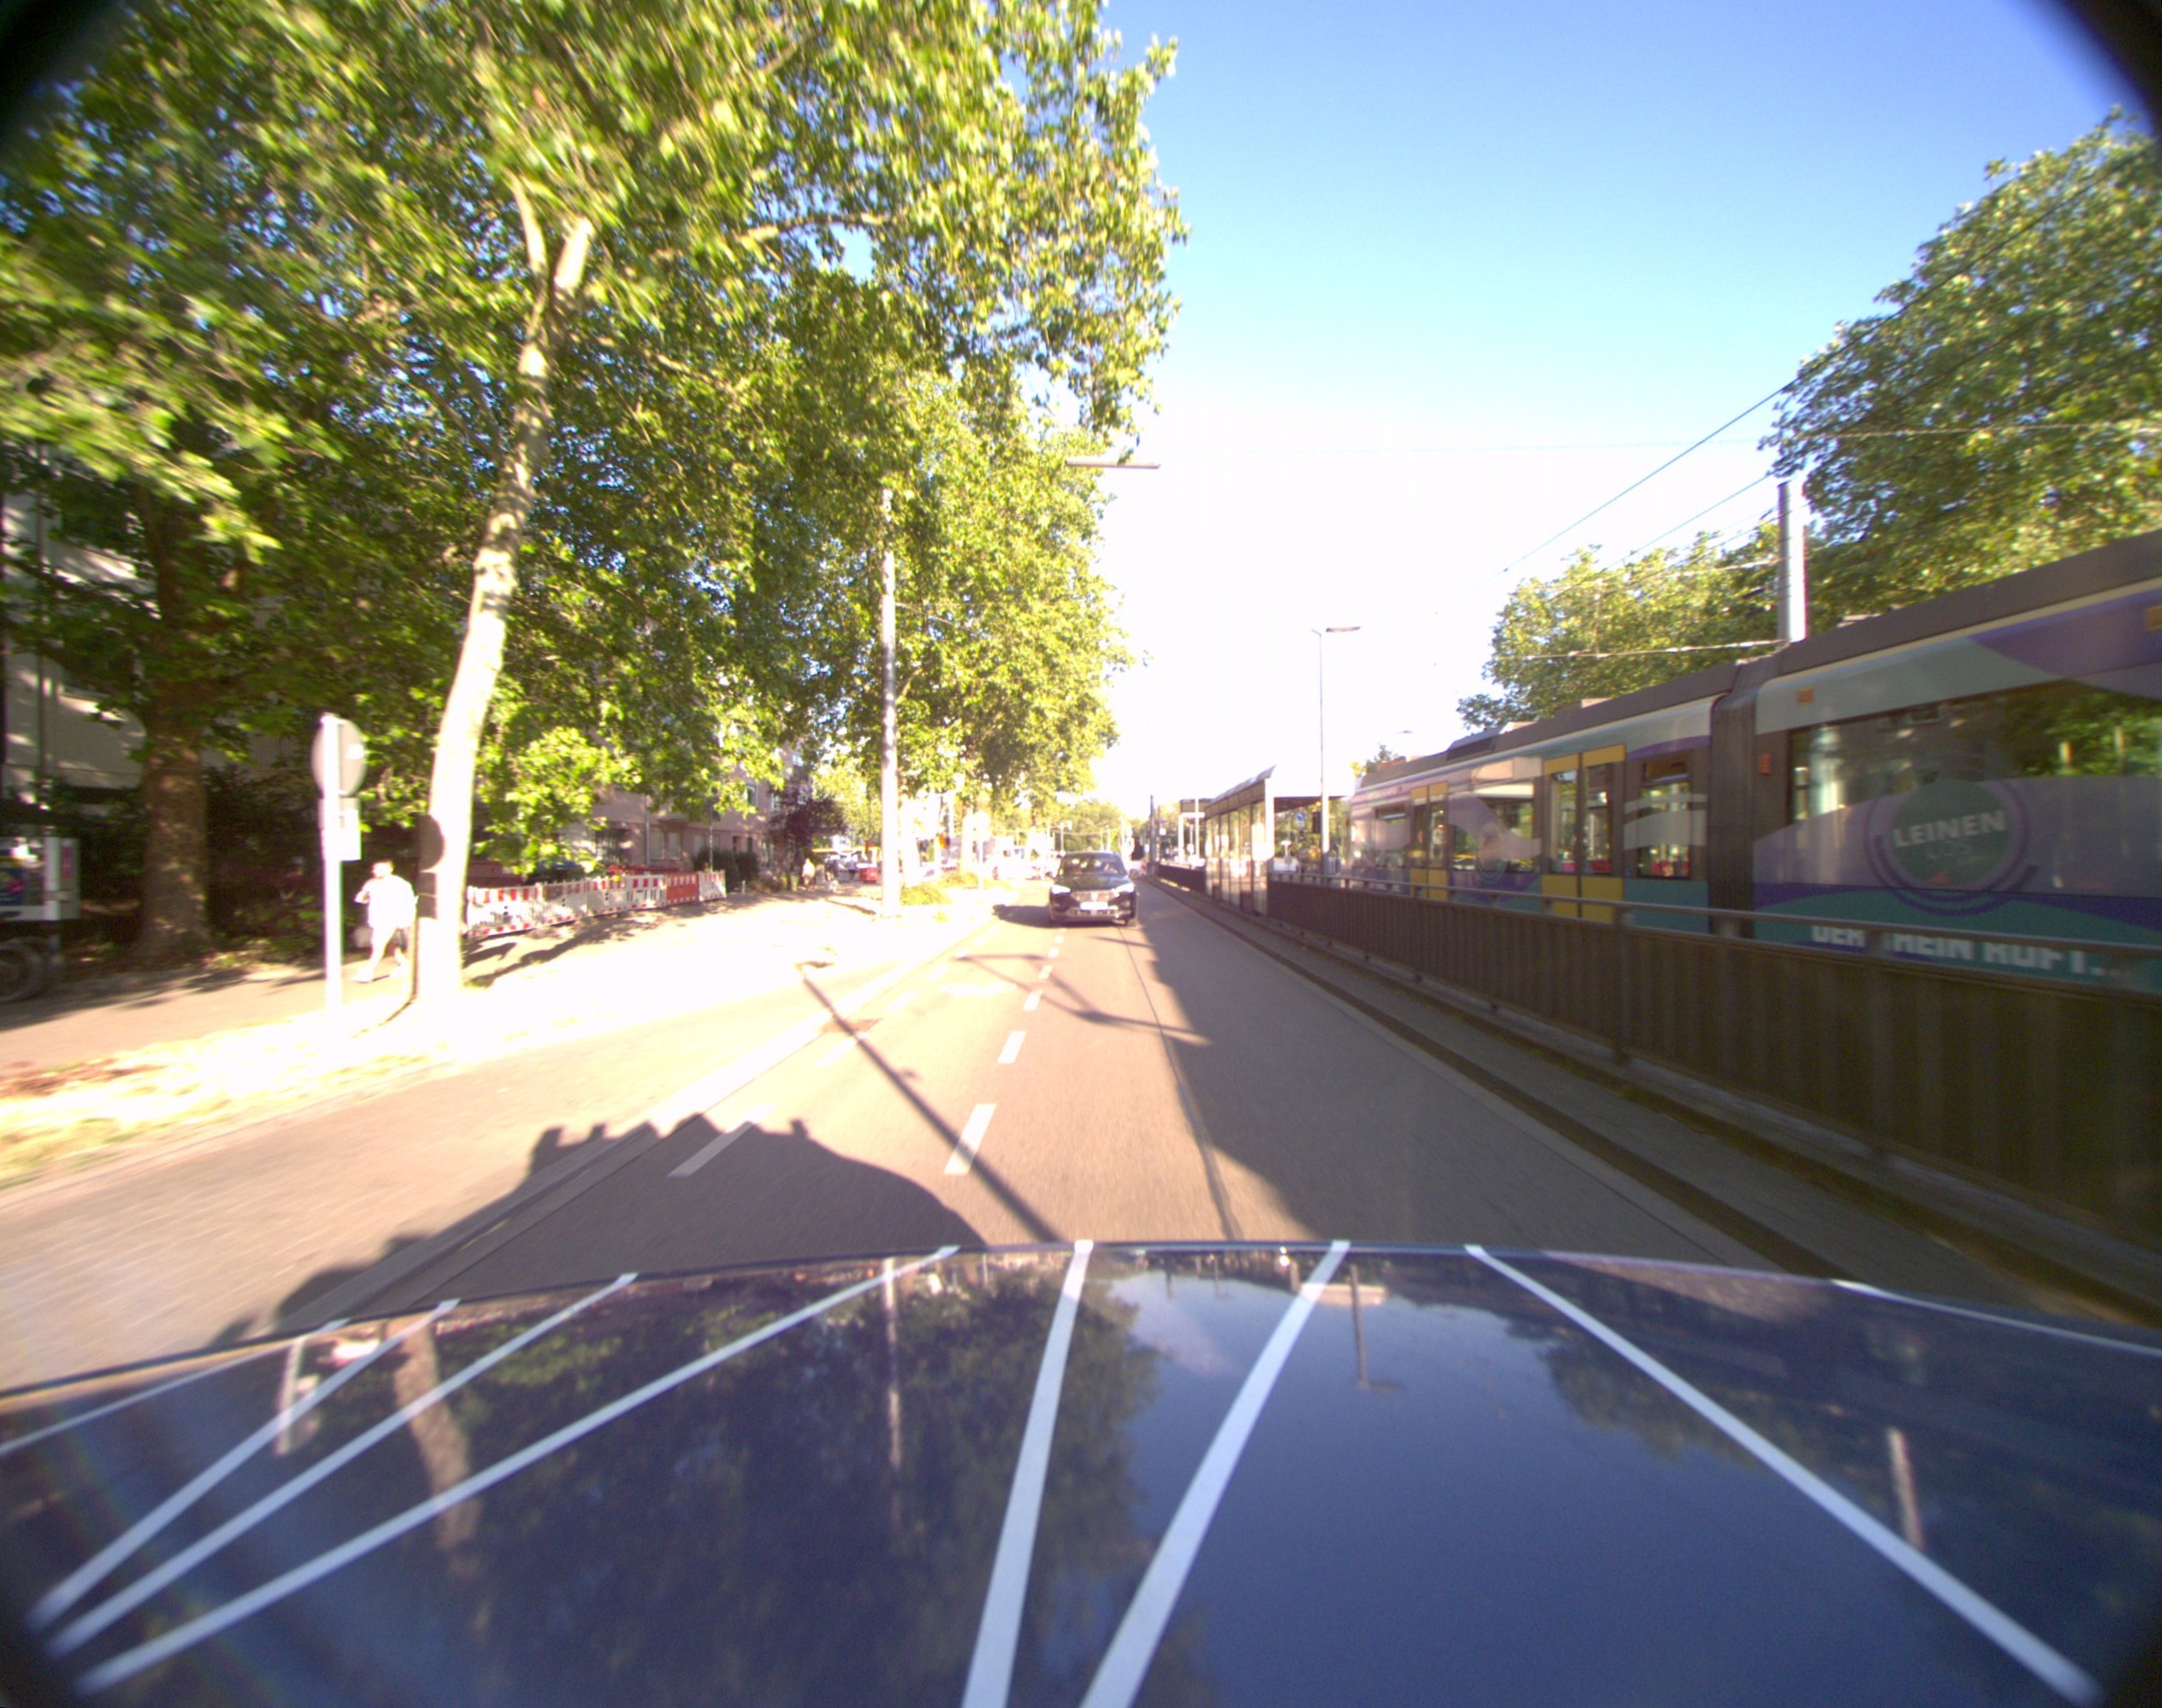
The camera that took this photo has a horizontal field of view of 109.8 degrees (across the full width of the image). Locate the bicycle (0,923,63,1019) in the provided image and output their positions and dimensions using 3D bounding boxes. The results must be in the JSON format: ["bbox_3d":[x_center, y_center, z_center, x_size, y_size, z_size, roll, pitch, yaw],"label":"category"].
[{"bbox_3d":[-13.258,1.335,8.799,2.379,1.018,0.664,0,1,8],"label":"bicycle"}]

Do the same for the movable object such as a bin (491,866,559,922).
[{"bbox_3d":[-14.703,1.035,20.099,1.295,1.426,0.841,-1,1,22],"label":"movable object such as a bin"}]

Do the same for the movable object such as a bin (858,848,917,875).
[{"bbox_3d":[-17.261,0.693,67.645,5.193,2.244,2.003,-1,2,33],"label":"movable object such as a bin"}]

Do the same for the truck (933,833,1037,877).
[{"bbox_3d":[-8.291,0.126,65.020,8.959,3.521,2.826,-1,0,31],"label":"truck"}]

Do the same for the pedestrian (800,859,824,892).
[{"bbox_3d":[-12.112,0.958,34.264,0.792,1.465,0.816,-1,0,-3],"label":"pedestrian"}]

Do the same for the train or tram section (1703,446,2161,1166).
[{"bbox_3d":[6.534,-0.225,0.155,2.735,3.528,12.785,-1,0,2],"label":"train or tram section"}]

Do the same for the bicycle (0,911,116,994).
[{"bbox_3d":[-14.518,1.347,10.299,0.651,0.964,1.960,0,1,-12],"label":"bicycle"}]

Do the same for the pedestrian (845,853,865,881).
[{"bbox_3d":[-15.412,0.864,51.855,1.097,1.858,0.842,-4,-3,44],"label":"pedestrian"}]

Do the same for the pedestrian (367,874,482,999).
[{"bbox_3d":[-8.720,1.067,10.129,0.792,1.563,0.816,-1,0,-3],"label":"pedestrian"}]

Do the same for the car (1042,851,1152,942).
[{"bbox_3d":[0.356,0.794,16.346,1.998,1.637,4.204,-2,0,2],"label":"car"}]

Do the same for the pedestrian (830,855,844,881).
[{"bbox_3d":[-16.541,0.944,51.482,0.677,1.697,0.586,-4,-4,36],"label":"pedestrian"}]

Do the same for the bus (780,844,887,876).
[{"bbox_3d":[-30.921,0.736,95.172,12.294,3.701,3.087,-1,0,-1],"label":"bus"}]

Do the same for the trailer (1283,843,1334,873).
[{"bbox_3d":[16.479,0.264,55.245,1.999,2.103,4.344,-1,1,-5],"label":"trailer"}]

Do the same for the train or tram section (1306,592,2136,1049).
[{"bbox_3d":[6.918,-0.276,12.589,2.856,3.512,13.397,-1,0,2],"label":"train or tram section"}]

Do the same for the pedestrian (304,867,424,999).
[{"bbox_3d":[-9.523,1.013,10.127,0.792,1.657,0.816,-1,1,-3],"label":"pedestrian"}]
